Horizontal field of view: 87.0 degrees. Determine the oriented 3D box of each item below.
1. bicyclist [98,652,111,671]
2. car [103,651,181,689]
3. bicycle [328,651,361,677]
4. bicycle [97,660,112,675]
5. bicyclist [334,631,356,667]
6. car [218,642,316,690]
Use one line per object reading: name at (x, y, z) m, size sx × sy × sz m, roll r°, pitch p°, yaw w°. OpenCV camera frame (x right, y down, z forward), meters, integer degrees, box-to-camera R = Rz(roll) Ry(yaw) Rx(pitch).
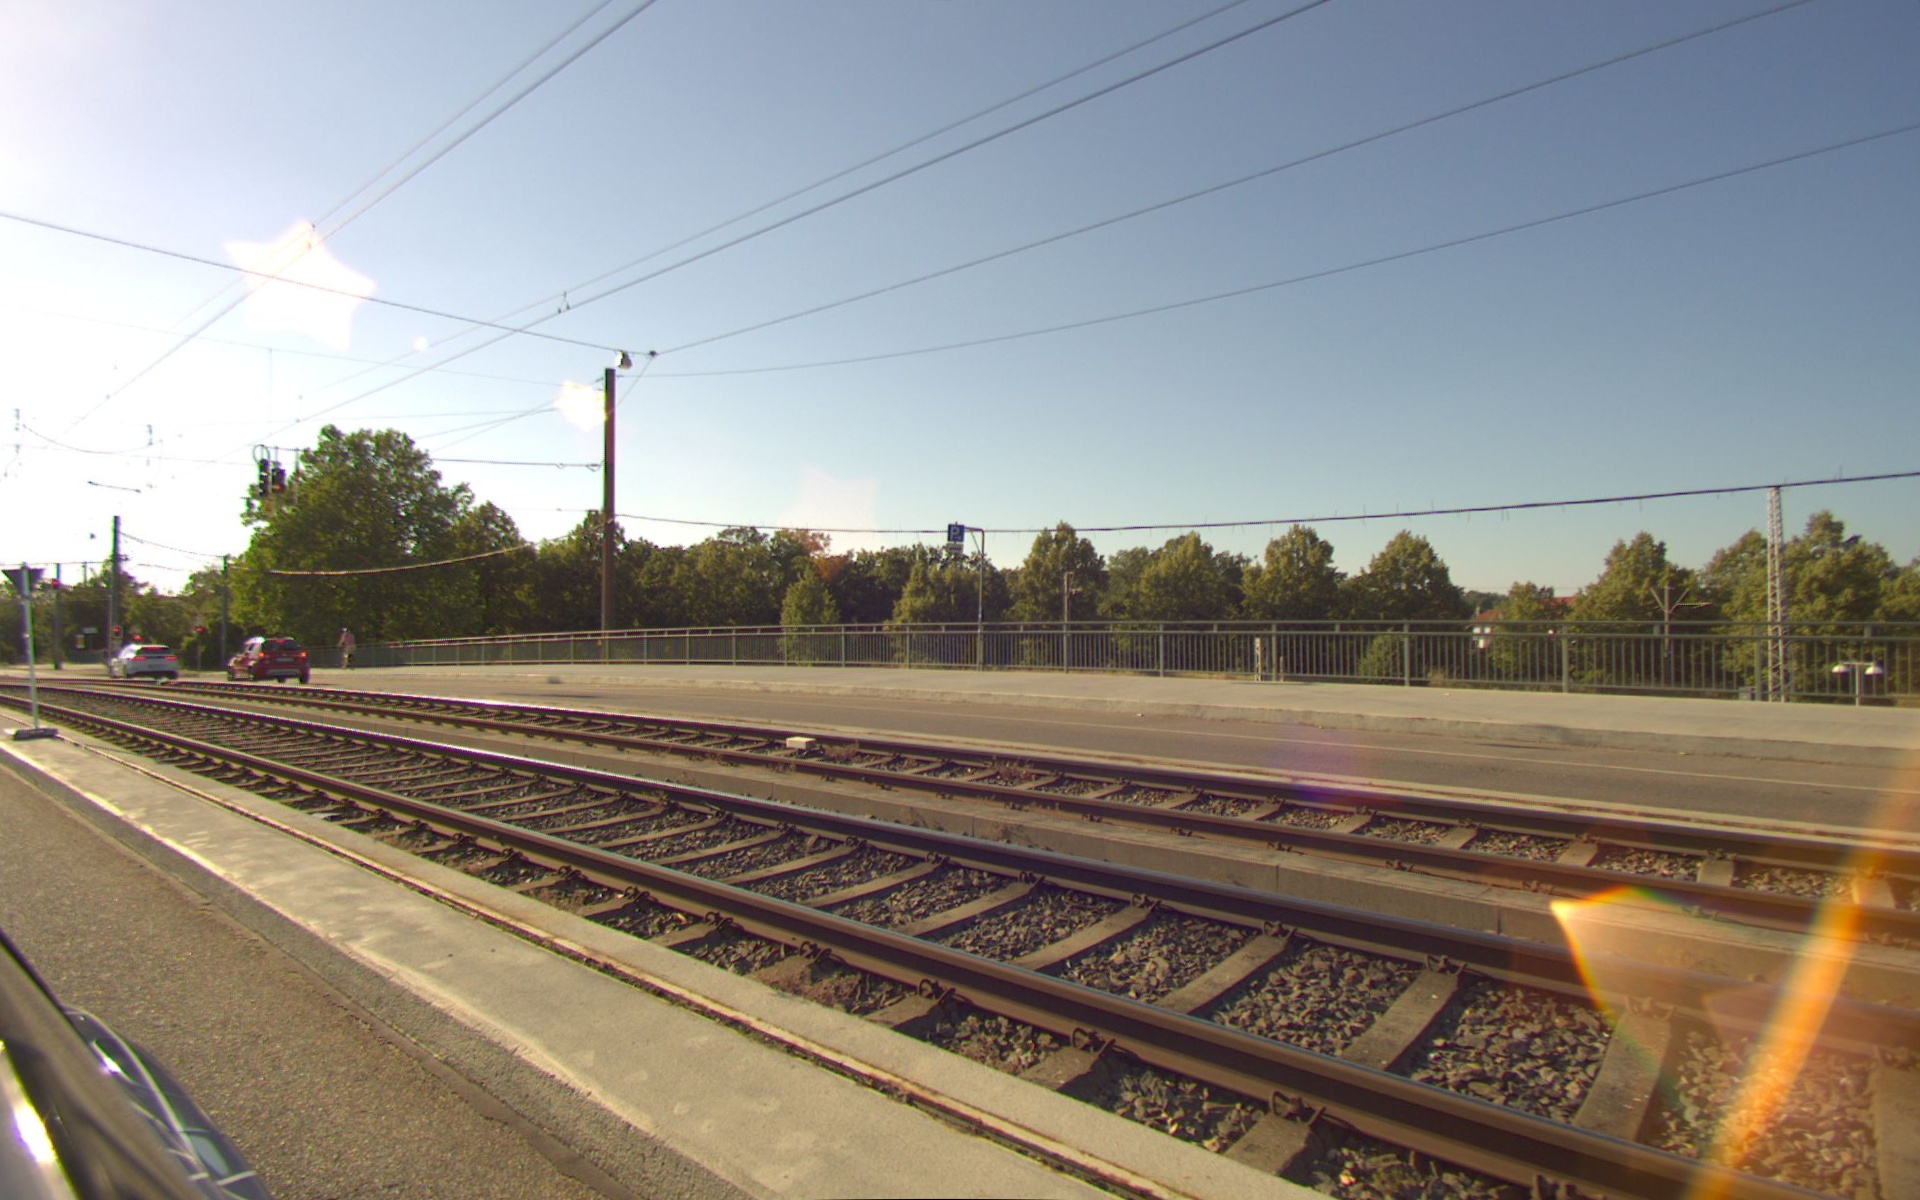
bicyclist at (-67.001, 4.779, 79.239) m, size 0.968 × 1.443 × 0.618 m, roll -3°, pitch -2°, yaw 42°
car at (-38.492, 3.256, 47.591) m, size 5.087 × 1.649 × 1.980 m, roll -3°, pitch -2°, yaw 41°
bicycle at (-28.531, 2.957, 46.914) m, size 2.257 × 1.131 × 0.619 m, roll -3°, pitch -2°, yaw 40°
bicycle at (-67.017, 5.287, 79.251) m, size 2.259 × 1.131 × 0.618 m, roll -3°, pitch -2°, yaw 42°
bicyclist at (-28.500, 2.281, 46.890) m, size 0.934 × 1.645 × 0.619 m, roll -3°, pitch -2°, yaw 39°
car at (-23.749, 2.265, 34.637) m, size 3.997 × 1.531 × 1.789 m, roll -4°, pitch -5°, yaw 41°
